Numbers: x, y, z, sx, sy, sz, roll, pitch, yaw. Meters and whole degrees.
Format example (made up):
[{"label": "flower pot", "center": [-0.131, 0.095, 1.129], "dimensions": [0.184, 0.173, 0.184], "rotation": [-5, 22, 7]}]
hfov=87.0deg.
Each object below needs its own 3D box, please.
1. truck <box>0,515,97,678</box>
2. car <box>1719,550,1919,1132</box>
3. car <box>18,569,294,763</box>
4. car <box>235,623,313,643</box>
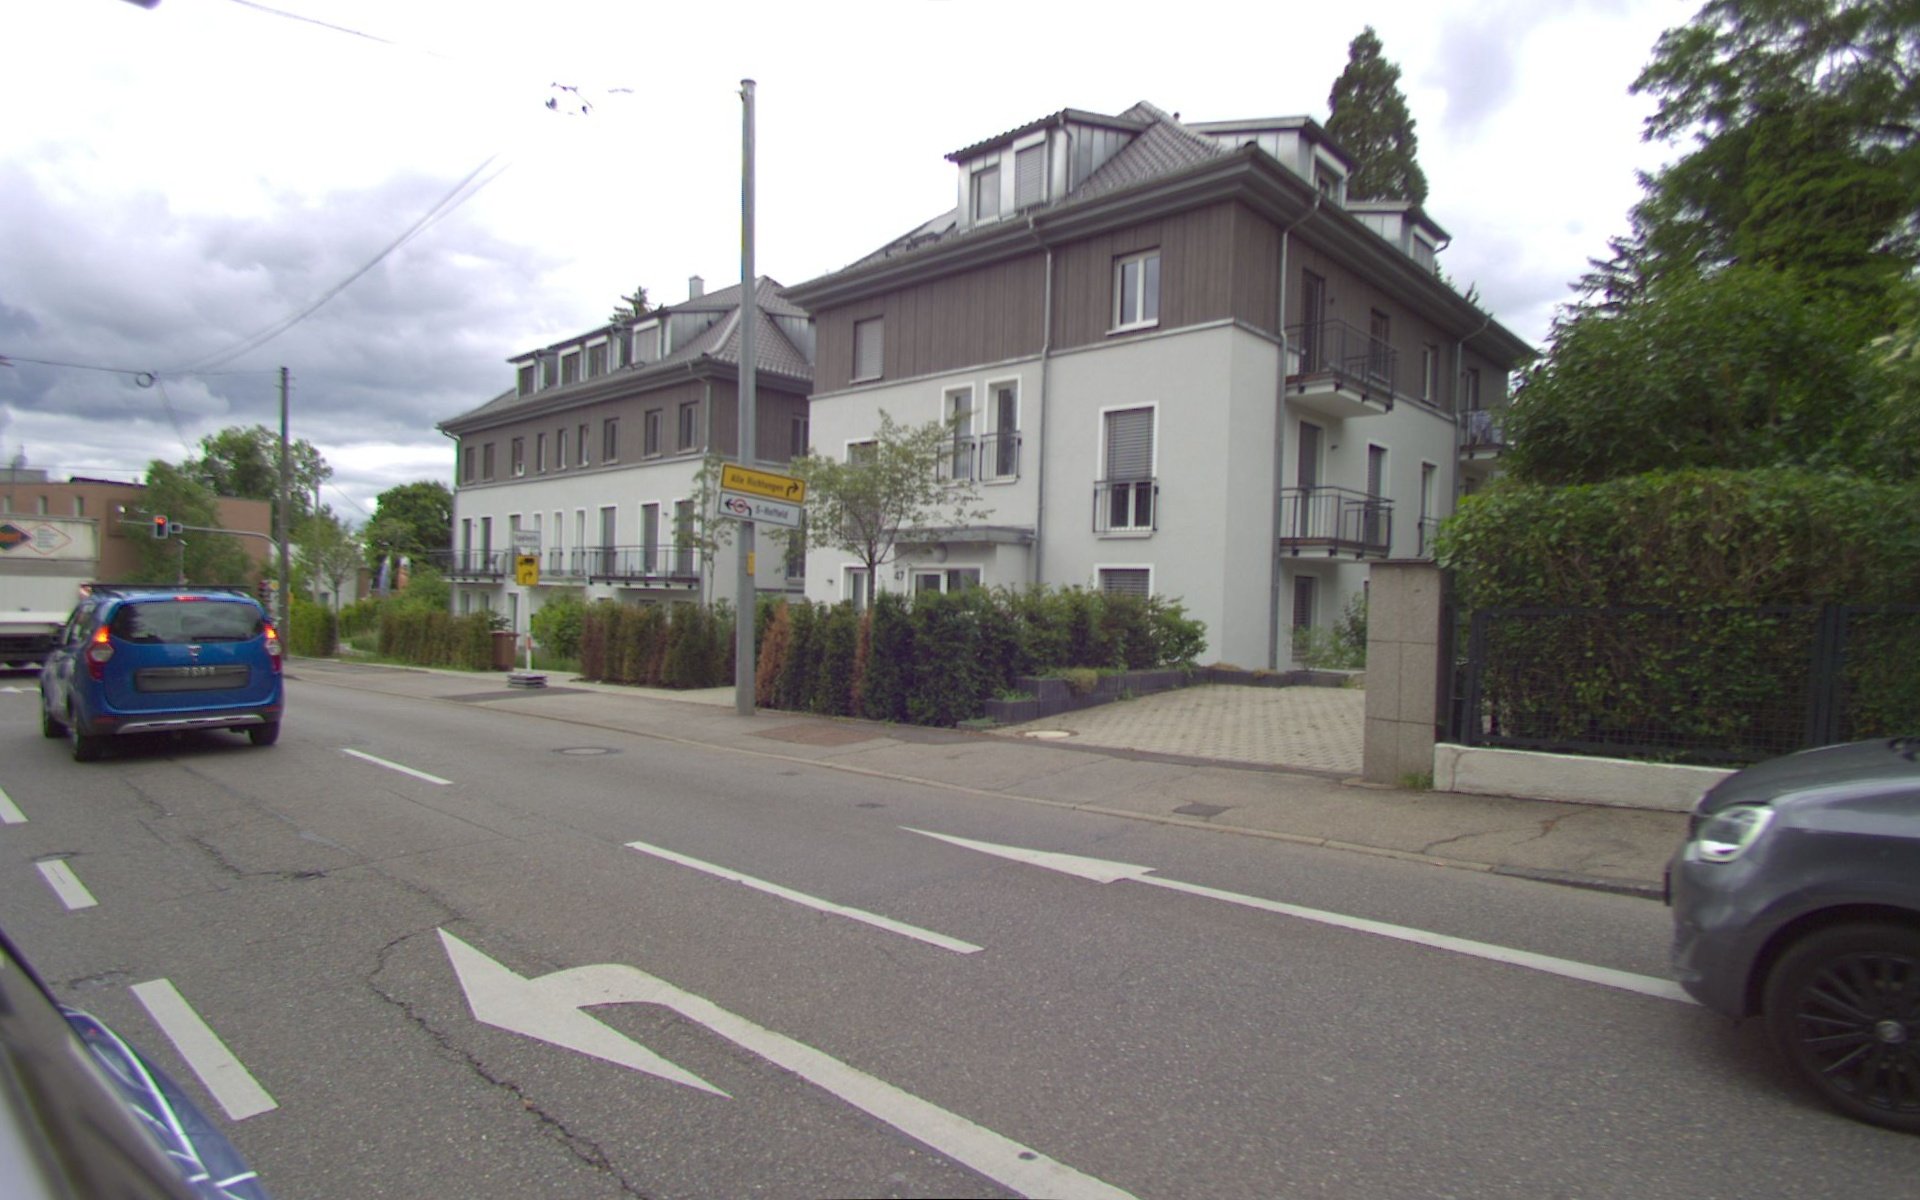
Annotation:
[{"label": "truck", "center": [-23.146, -0.082, 24.260], "dimensions": [7.492, 3.487, 2.748], "rotation": [0, -1, 42]}, {"label": "car", "center": [4.090, 0.630, 2.385], "dimensions": [3.535, 1.530, 1.666], "rotation": [-1, -3, 42]}, {"label": "car", "center": [-9.025, 0.633, 11.216], "dimensions": [4.379, 1.730, 1.786], "rotation": [-1, -1, 43]}, {"label": "car", "center": [-46.474, 2.205, 68.651], "dimensions": [1.985, 1.253, 3.973], "rotation": [1, -1, 20]}]
